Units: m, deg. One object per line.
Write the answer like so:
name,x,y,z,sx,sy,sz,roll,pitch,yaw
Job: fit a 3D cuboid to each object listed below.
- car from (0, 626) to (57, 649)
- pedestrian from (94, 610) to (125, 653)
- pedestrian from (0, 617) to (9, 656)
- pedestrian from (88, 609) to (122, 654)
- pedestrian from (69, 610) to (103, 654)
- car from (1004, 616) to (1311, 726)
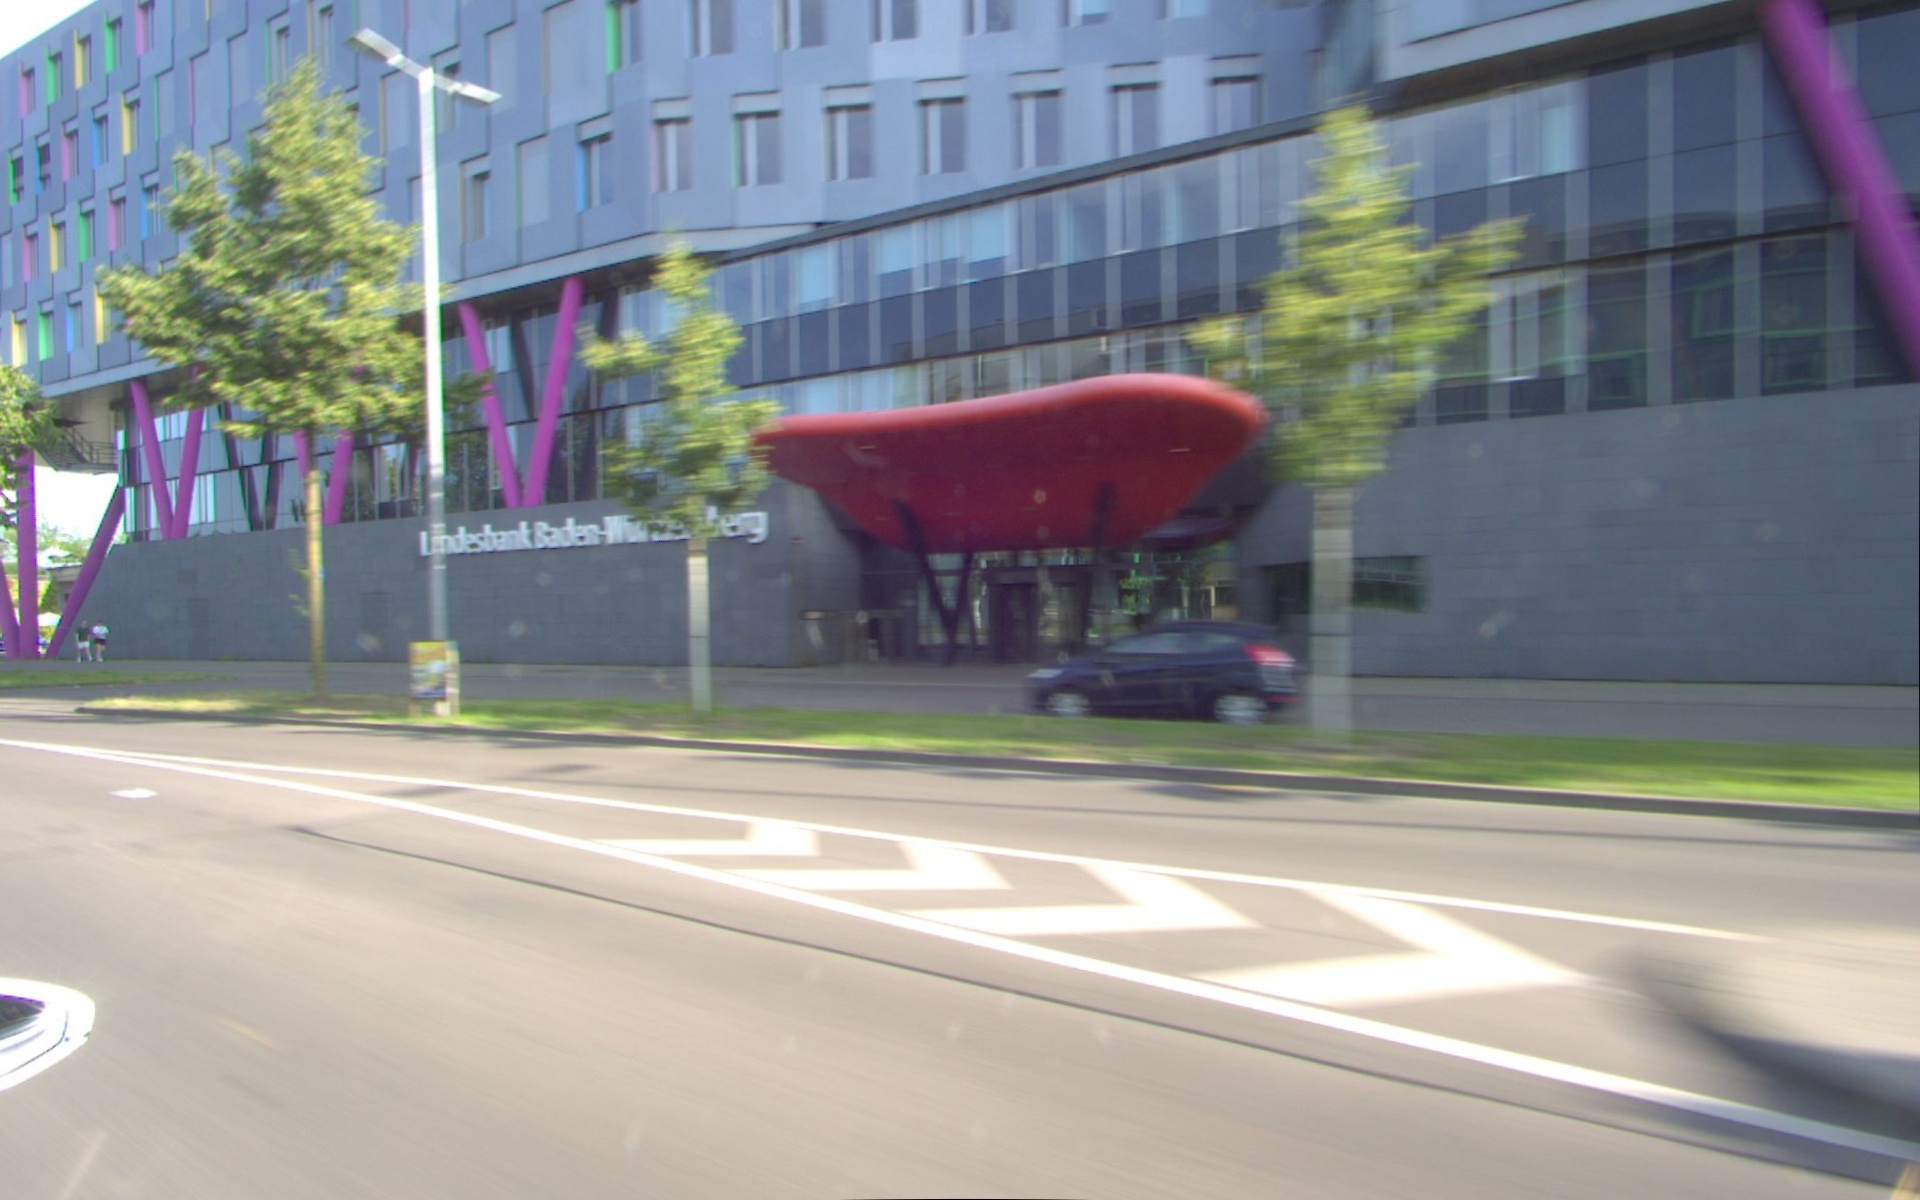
car,-67.034,2.656,70.921,1.829,1.443,4.182,-1,0,26
pedestrian,-36.150,1.337,42.553,0.774,1.818,0.656,-1,2,26
pedestrian,-41.131,1.574,42.598,0.725,1.661,0.693,-1,2,26
pedestrian,-36.148,1.323,42.324,0.839,1.850,0.767,-1,2,26
pedestrian,-36.432,1.331,41.745,0.830,1.818,0.753,-1,2,26
car,2.862,0.954,14.624,4.131,1.408,1.691,0,0,26
